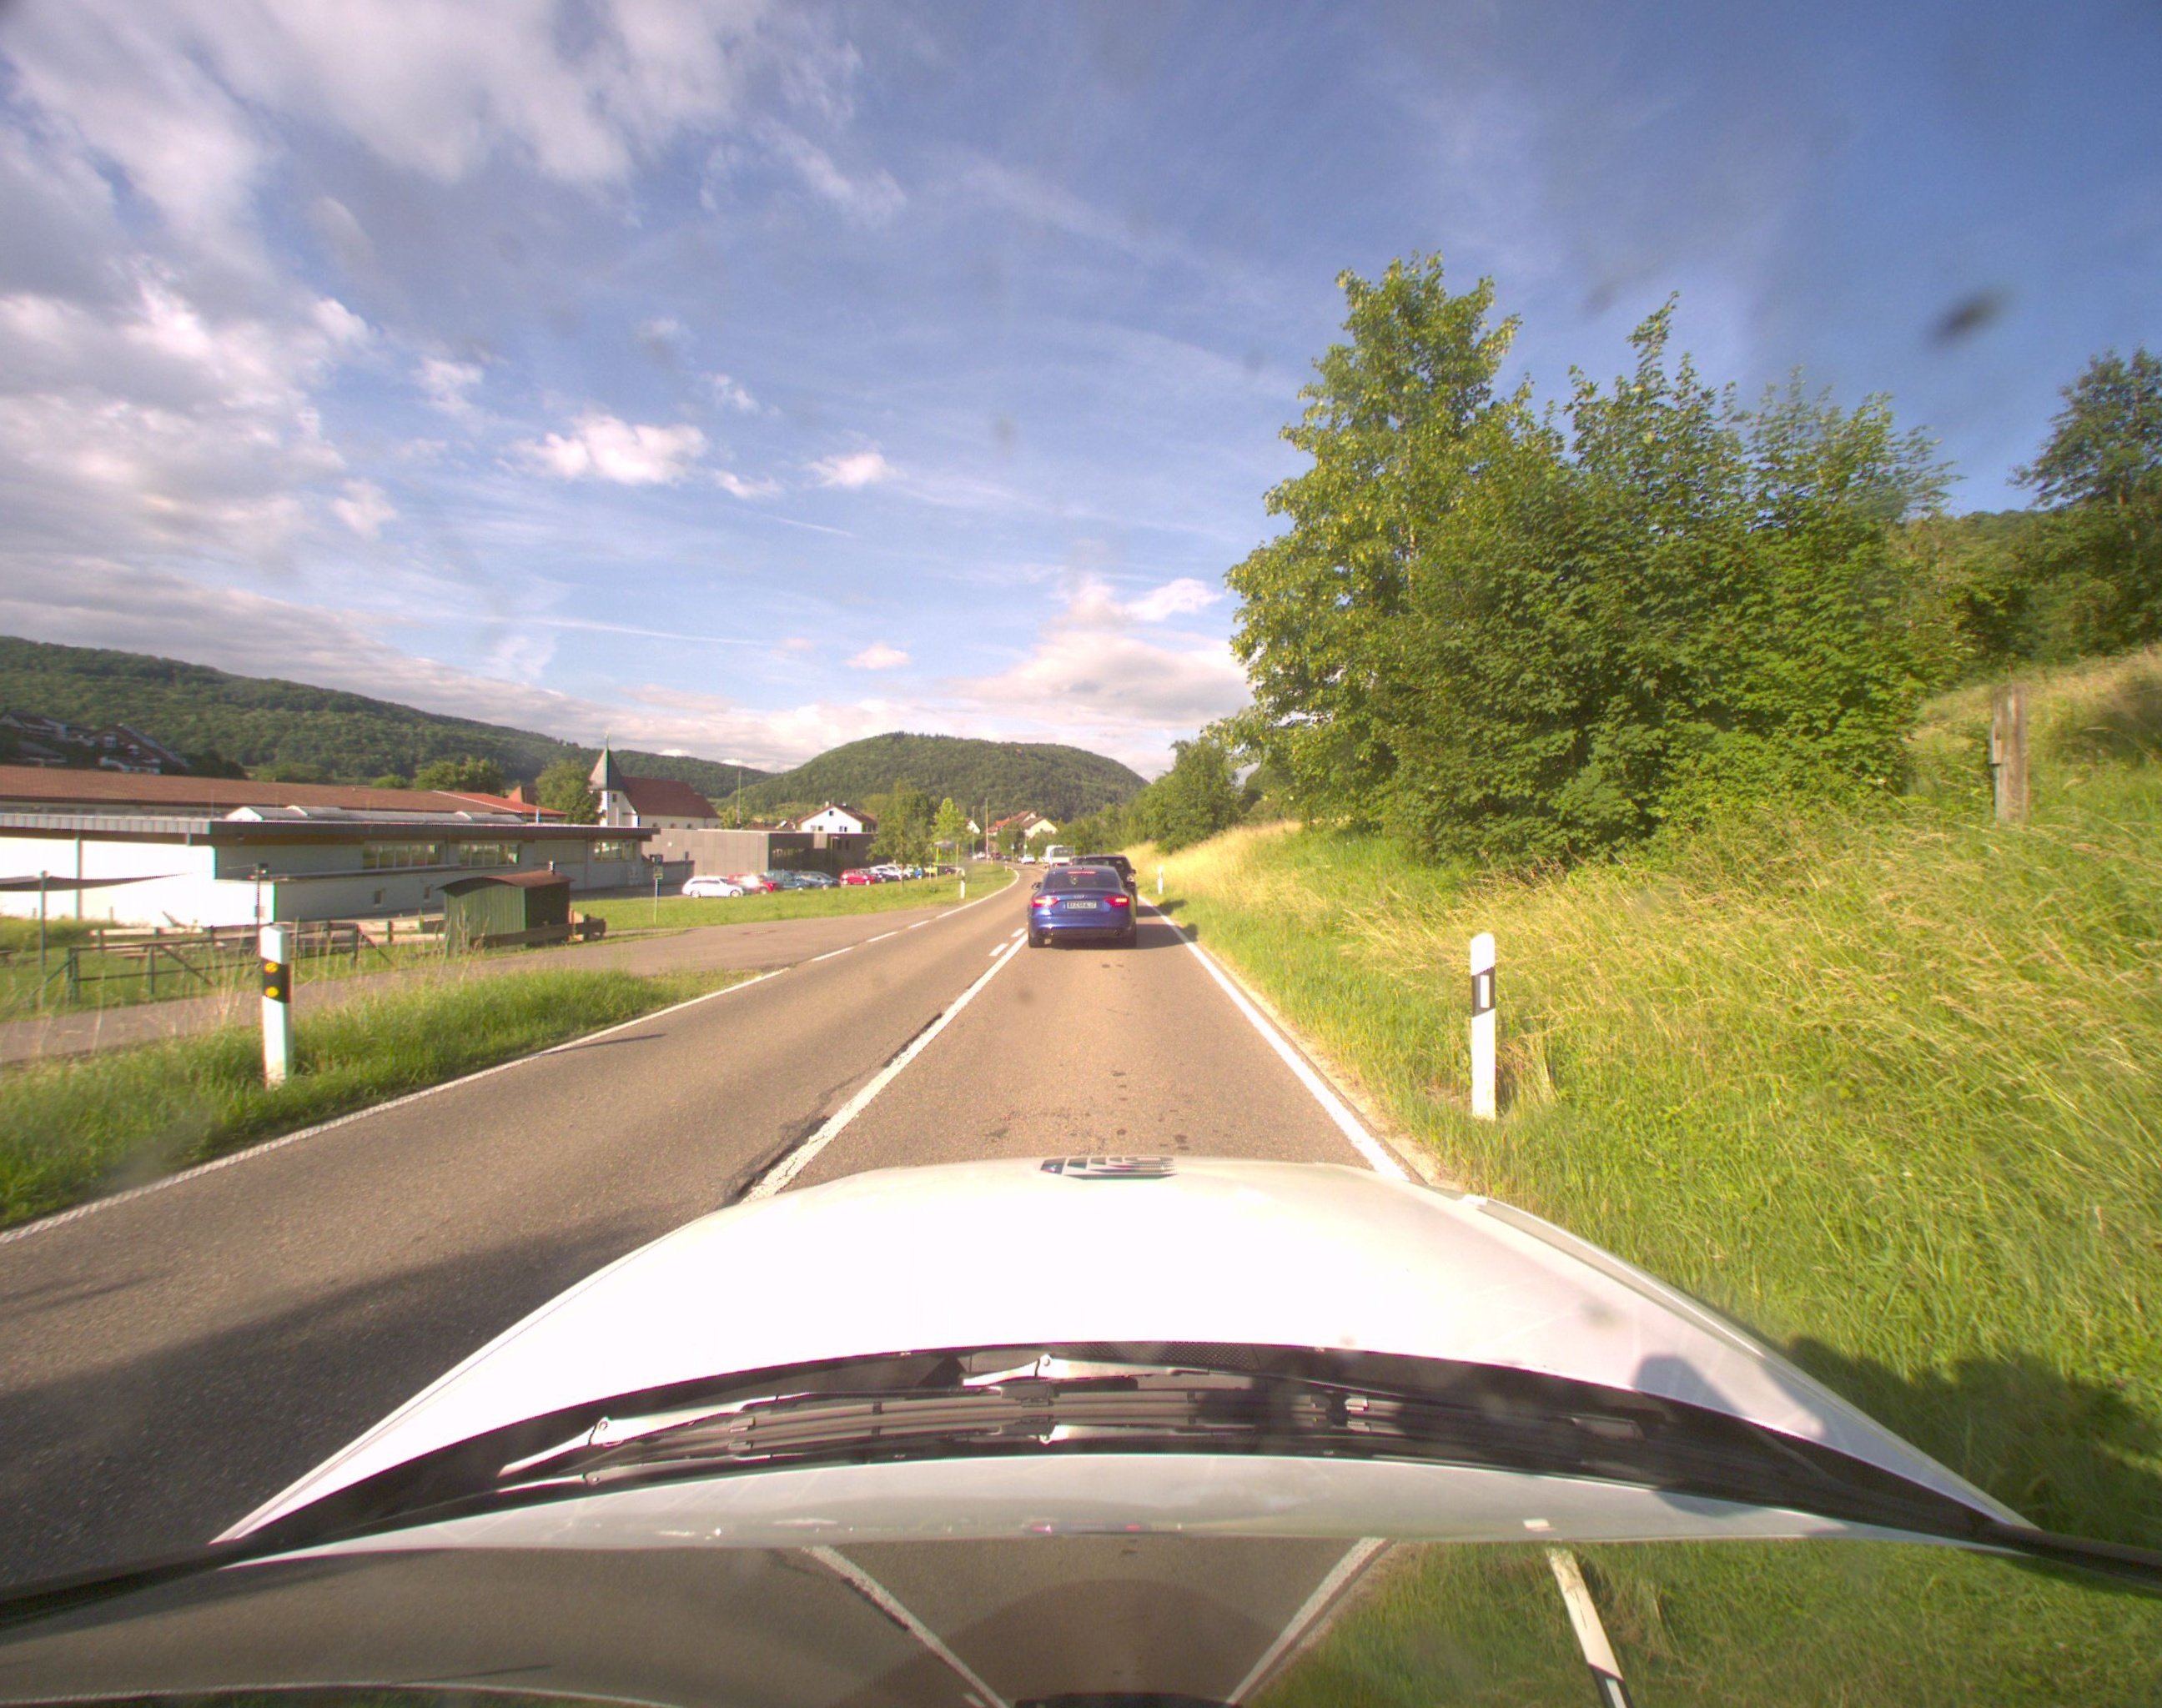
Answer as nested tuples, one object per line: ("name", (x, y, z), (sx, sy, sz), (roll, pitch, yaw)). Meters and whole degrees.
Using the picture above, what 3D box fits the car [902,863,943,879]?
("car", (-19.509, 2.082, 100.193), (4.529, 1.815, 1.845), (-2, 0, 7))

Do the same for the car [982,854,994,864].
("car", (-19.981, 1.121, 174.511), (1.681, 1.924, 3.976), (-2, 0, -18))

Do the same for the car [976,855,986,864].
("car", (-22.489, 1.185, 183.005), (1.681, 1.924, 3.976), (-2, 0, -18))

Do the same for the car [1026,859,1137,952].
("car", (0.093, 0.816, 14.580), (1.735, 1.450, 3.519), (0, 0, 3))

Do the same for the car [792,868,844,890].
("car", (-22.567, 2.153, 69.924), (3.799, 1.722, 1.735), (-2, -1, 6))

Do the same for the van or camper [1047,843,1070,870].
("van or camper", (-2.474, 0.311, 88.193), (2.276, 2.714, 5.761), (-2, 0, -3))

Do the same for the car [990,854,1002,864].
("car", (-17.334, 0.962, 166.127), (1.681, 1.924, 3.977), (-2, 0, -17))

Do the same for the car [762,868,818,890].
("car", (-23.276, 1.998, 65.256), (3.844, 1.722, 1.758), (-1, 0, 4))

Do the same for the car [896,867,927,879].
("car", (-20.265, 2.253, 97.483), (3.359, 1.373, 1.660), (-2, 0, -1))

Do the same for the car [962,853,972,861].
("car", (-27.720, 0.661, 198.532), (1.681, 1.924, 3.976), (-2, 0, -18))

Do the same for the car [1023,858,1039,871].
("car", (-7.542, 1.571, 123.015), (1.662, 1.924, 3.981), (-2, 0, -13))

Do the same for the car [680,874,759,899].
("car", (-25.138, 2.270, 56.724), (4.617, 1.589, 2.003), (-2, -1, 6))

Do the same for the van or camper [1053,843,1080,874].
("van or camper", (-1.296, 0.375, 70.523), (2.047, 2.505, 5.804), (-2, 0, -3))

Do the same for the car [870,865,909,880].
("car", (-20.727, 1.988, 88.242), (3.646, 1.494, 1.600), (-2, 0, 7))

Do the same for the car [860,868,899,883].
("car", (-20.987, 2.228, 84.967), (3.605, 1.405, 1.599), (-2, -3, 7))

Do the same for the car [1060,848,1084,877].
("car", (-0.696, 0.611, 59.441), (1.563, 2.013, 3.996), (-2, 0, -2))

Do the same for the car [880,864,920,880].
("car", (-20.502, 2.010, 92.543), (4.055, 1.673, 1.600), (-2, 1, 7))

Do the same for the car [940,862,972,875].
("car", (-17.653, 2.093, 115.058), (4.014, 1.660, 1.659), (-2, 0, 7))

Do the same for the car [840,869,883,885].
("car", (-21.572, 2.225, 80.033), (3.605, 1.444, 1.651), (-2, 0, 7))

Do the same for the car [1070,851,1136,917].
("car", (0.546, 0.741, 21.856), (1.640, 1.625, 3.516), (0, 0, 0))

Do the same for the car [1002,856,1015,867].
("car", (-13.608, 1.400, 152.807), (1.663, 1.924, 3.979), (-2, 0, -15))

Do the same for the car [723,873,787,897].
("car", (-23.858, 2.253, 59.690), (3.900, 1.579, 1.759), (-2, -1, 6))

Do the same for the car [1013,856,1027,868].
("car", (-10.017, 1.339, 133.890), (1.661, 1.924, 3.983), (-2, 0, -12))
